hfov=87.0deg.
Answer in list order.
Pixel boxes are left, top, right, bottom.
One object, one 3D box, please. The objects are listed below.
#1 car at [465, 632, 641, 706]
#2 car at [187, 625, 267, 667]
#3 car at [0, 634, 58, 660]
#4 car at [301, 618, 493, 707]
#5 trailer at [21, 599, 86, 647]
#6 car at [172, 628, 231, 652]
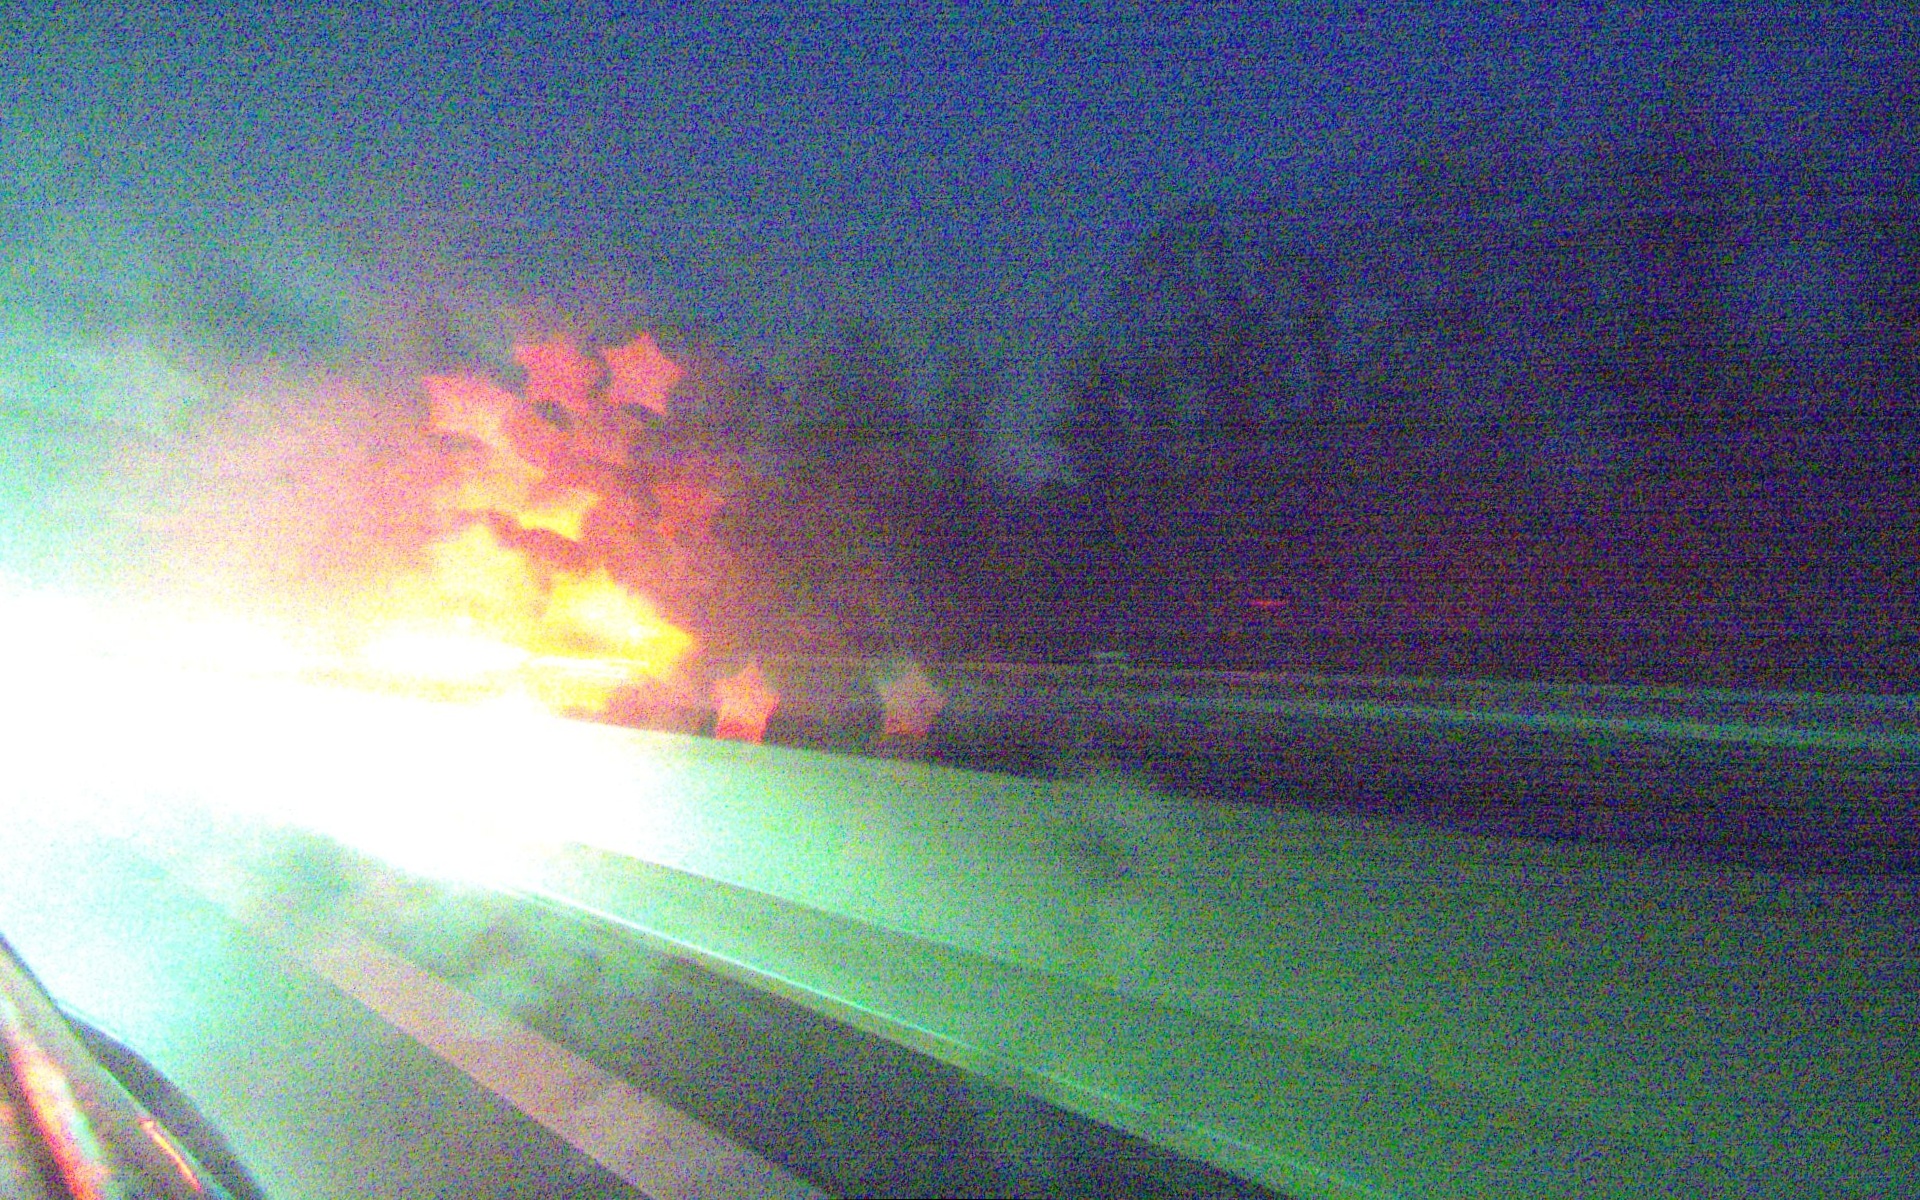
[{"bbox_3d":[-9.997,1.617,24.685,4.742,1.629,1.973,-2,-3,40],"label":"car"},{"bbox_3d":[-30.686,1.899,42.314,5.125,1.594,1.633,-2,-1,41],"label":"car"},{"bbox_3d":[-50.687,2.535,54.977,4.284,1.355,1.942,-2,-1,40],"label":"car"},{"bbox_3d":[-11.569,1.227,20.691,4.414,1.629,1.973,-2,-3,40],"label":"car"},{"bbox_3d":[-89.132,2.367,99.348,15.708,4.337,2.856,-2,-1,41],"label":"trailer"},{"bbox_3d":[-46.102,2.428,61.490,4.284,1.355,1.942,-2,-1,40],"label":"car"}]
